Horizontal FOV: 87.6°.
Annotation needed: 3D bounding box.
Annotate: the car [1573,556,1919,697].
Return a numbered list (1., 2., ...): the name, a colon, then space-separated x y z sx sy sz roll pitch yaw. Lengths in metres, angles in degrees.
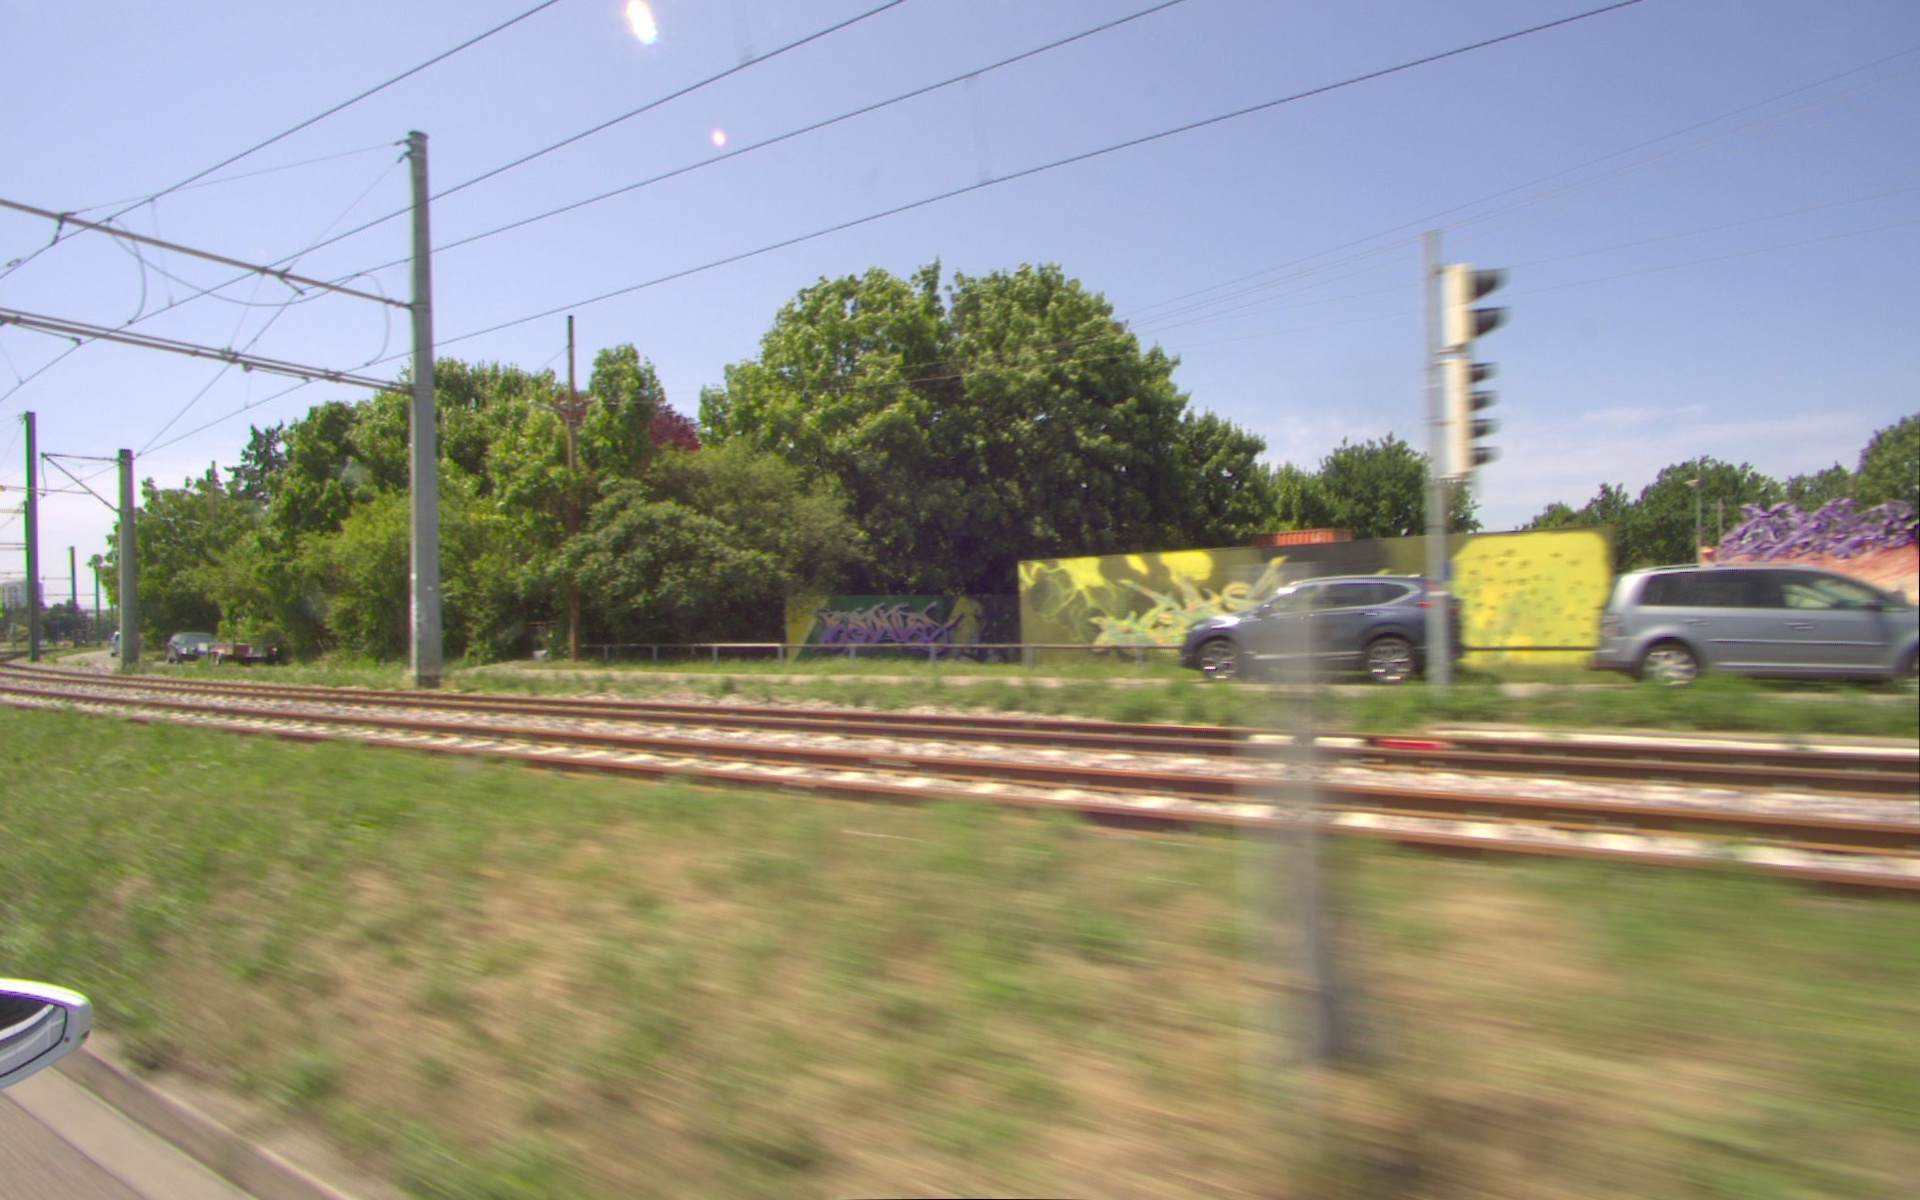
1. car: 10.708 0.353 12.912 4.641 1.645 1.675 -3 -1 29

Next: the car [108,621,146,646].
1. car: -68.482 2.794 82.351 2.017 1.906 5.034 -1 -1 -36

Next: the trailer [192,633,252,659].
1. trailer: -31.350 1.949 42.506 3.958 1.007 1.411 -1 -3 44

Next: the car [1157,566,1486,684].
1. car: 5.822 0.458 16.346 4.748 1.678 1.824 -3 -1 32

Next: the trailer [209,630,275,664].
1. trailer: -28.511 1.886 39.717 3.960 1.238 1.453 -3 -1 44

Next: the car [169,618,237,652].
1. car: -35.051 1.638 46.338 4.692 1.444 1.786 -3 -1 44
